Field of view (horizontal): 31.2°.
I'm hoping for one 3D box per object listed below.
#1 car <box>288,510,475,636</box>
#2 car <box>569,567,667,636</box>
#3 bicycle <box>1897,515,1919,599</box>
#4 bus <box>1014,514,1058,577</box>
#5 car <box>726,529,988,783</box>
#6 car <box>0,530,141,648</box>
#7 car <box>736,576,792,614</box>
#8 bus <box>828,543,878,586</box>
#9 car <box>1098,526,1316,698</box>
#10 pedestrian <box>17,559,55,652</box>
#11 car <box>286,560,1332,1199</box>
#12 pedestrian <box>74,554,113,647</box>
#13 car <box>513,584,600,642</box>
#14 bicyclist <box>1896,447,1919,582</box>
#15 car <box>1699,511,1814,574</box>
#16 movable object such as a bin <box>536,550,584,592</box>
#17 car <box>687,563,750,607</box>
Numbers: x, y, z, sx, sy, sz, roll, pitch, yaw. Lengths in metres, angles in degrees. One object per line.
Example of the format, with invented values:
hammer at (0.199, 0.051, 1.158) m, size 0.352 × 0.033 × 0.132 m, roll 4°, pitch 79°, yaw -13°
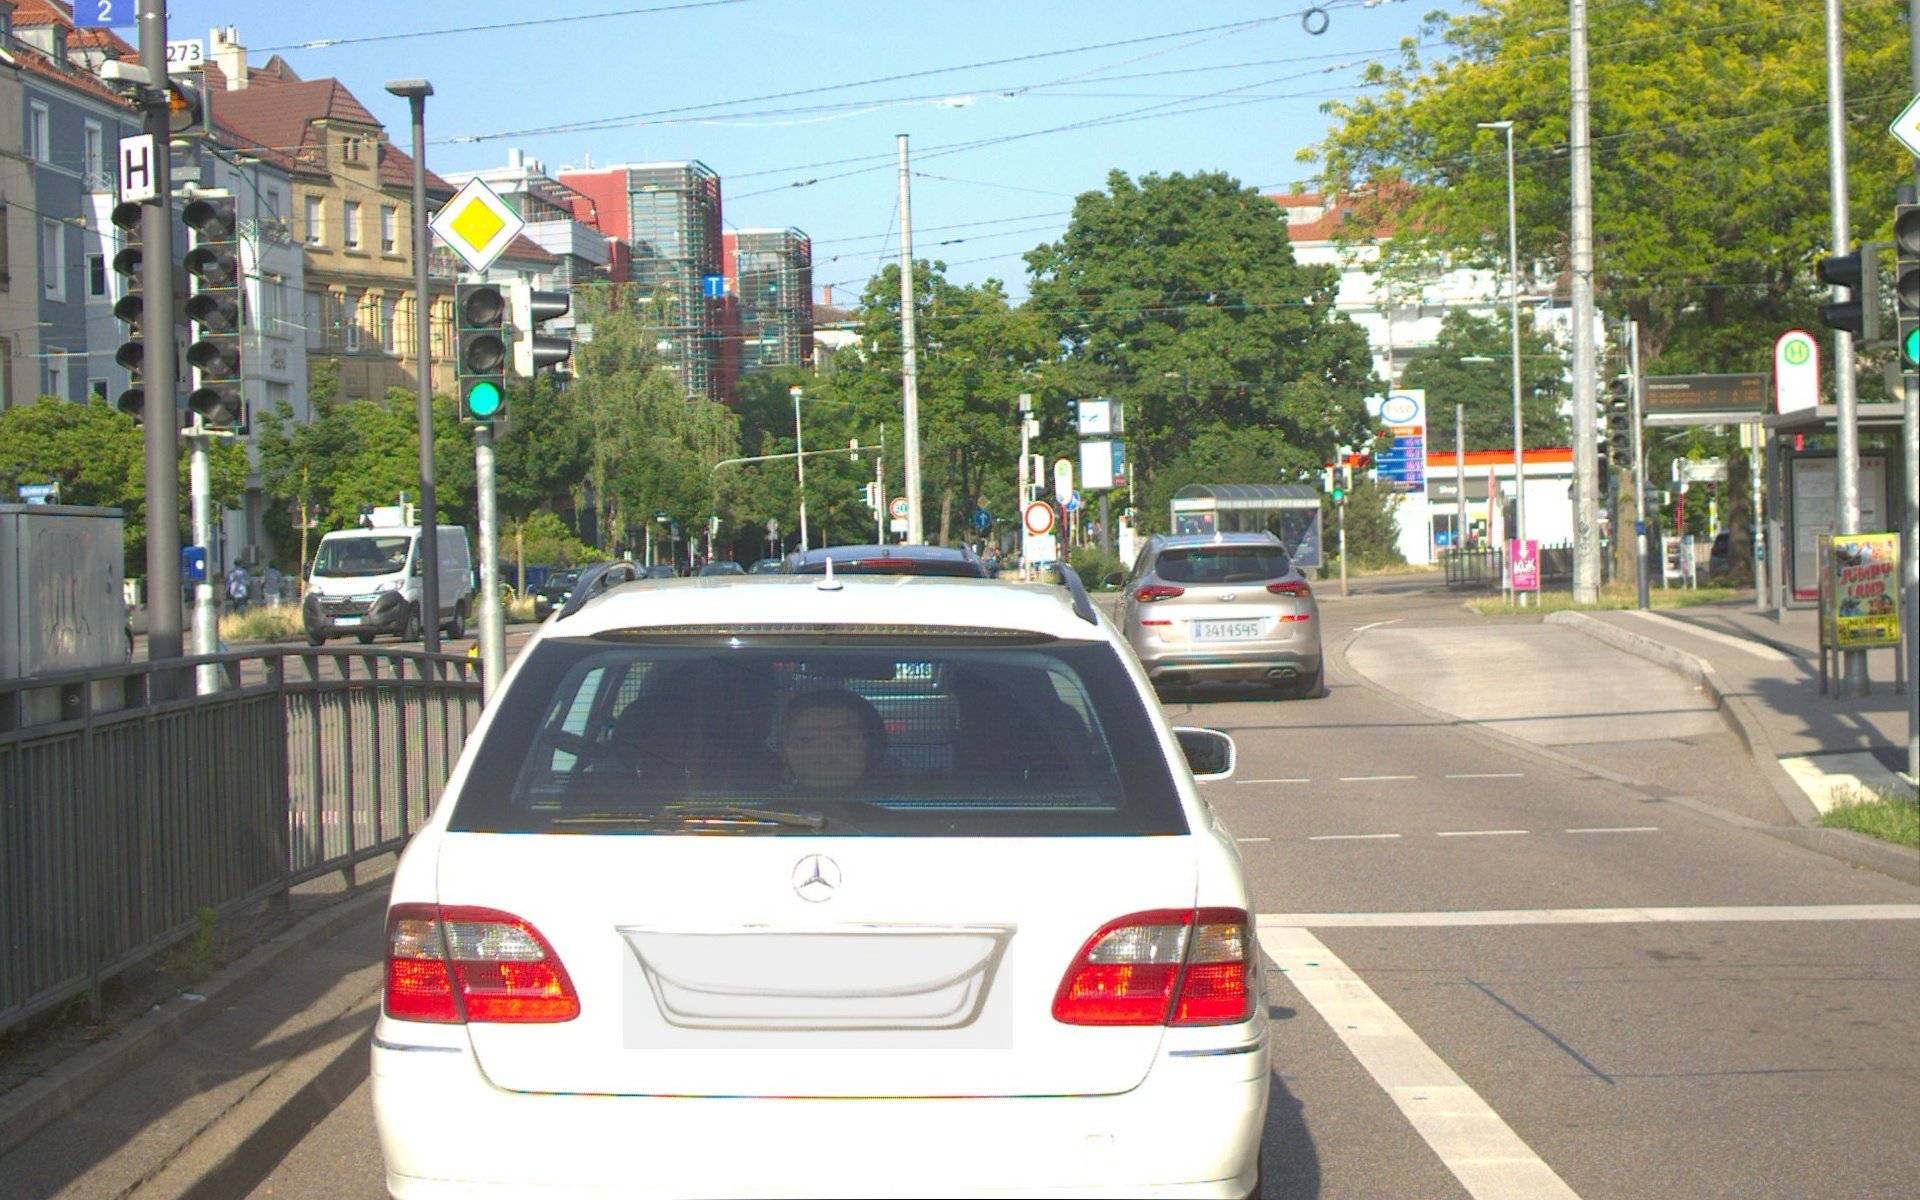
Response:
car at (-10.904, -0.552, 65.230) m, size 2.177 × 2.231 × 5.252 m, roll -1°, pitch 1°, yaw 5°
car at (-8.482, 0.013, 85.716) m, size 1.767 × 1.489 × 4.744 m, roll -2°, pitch 2°, yaw 2°
bicycle at (12.817, -0.583, 45.015) m, size 0.640 × 1.084 × 1.733 m, roll -4°, pitch 1°, yaw 3°
bus at (3.169, -2.262, 143.249) m, size 1.798 × 2.546 × 4.000 m, roll 1°, pitch 0°, yaw 1°
car at (-0.668, 0.324, 23.477) m, size 1.641 × 1.595 × 3.815 m, roll 0°, pitch 1°, yaw -1°
car at (-13.127, -0.180, 48.794) m, size 1.677 × 1.520 × 4.124 m, roll -1°, pitch 2°, yaw 5°
car at (-7.619, -0.209, 133.707) m, size 1.689 × 1.415 × 4.000 m, roll -2°, pitch 0°, yaw 3°
bus at (-4.265, -1.429, 137.379) m, size 1.844 × 1.630 × 4.159 m, roll -2°, pitch 1°, yaw 0°
car at (2.372, 0.084, 33.853) m, size 1.835 × 1.595 × 3.815 m, roll 0°, pitch 1°, yaw -1°
pedestrian at (-18.855, 0.103, 70.164) m, size 0.584 × 1.874 × 0.627 m, roll -2°, pitch 1°, yaw -3°
car at (-0.284, 0.662, 7.945) m, size 1.835 × 1.496 × 3.815 m, roll 0°, pitch 1°, yaw -1°
pedestrian at (-17.781, 0.003, 70.549) m, size 0.584 × 1.874 × 0.627 m, roll -2°, pitch 1°, yaw 0°
car at (-11.018, 0.341, 94.118) m, size 1.767 × 1.428 × 4.000 m, roll -2°, pitch 1°, yaw 2°
bicyclist at (12.719, -1.131, 44.705) m, size 0.720 × 1.740 × 1.140 m, roll -4°, pitch 0°, yaw 3°
car at (21.224, -1.540, 91.523) m, size 1.856 × 1.510 × 3.994 m, roll -3°, pitch 0°, yaw 30°
movable object such as a bin at (-14.014, -1.028, 120.481) m, size 1.602 × 1.416 × 1.085 m, roll -2°, pitch 1°, yaw -7°
car at (-8.585, -0.539, 122.309) m, size 1.689 × 1.436 × 4.000 m, roll -2°, pitch 1°, yaw 3°
